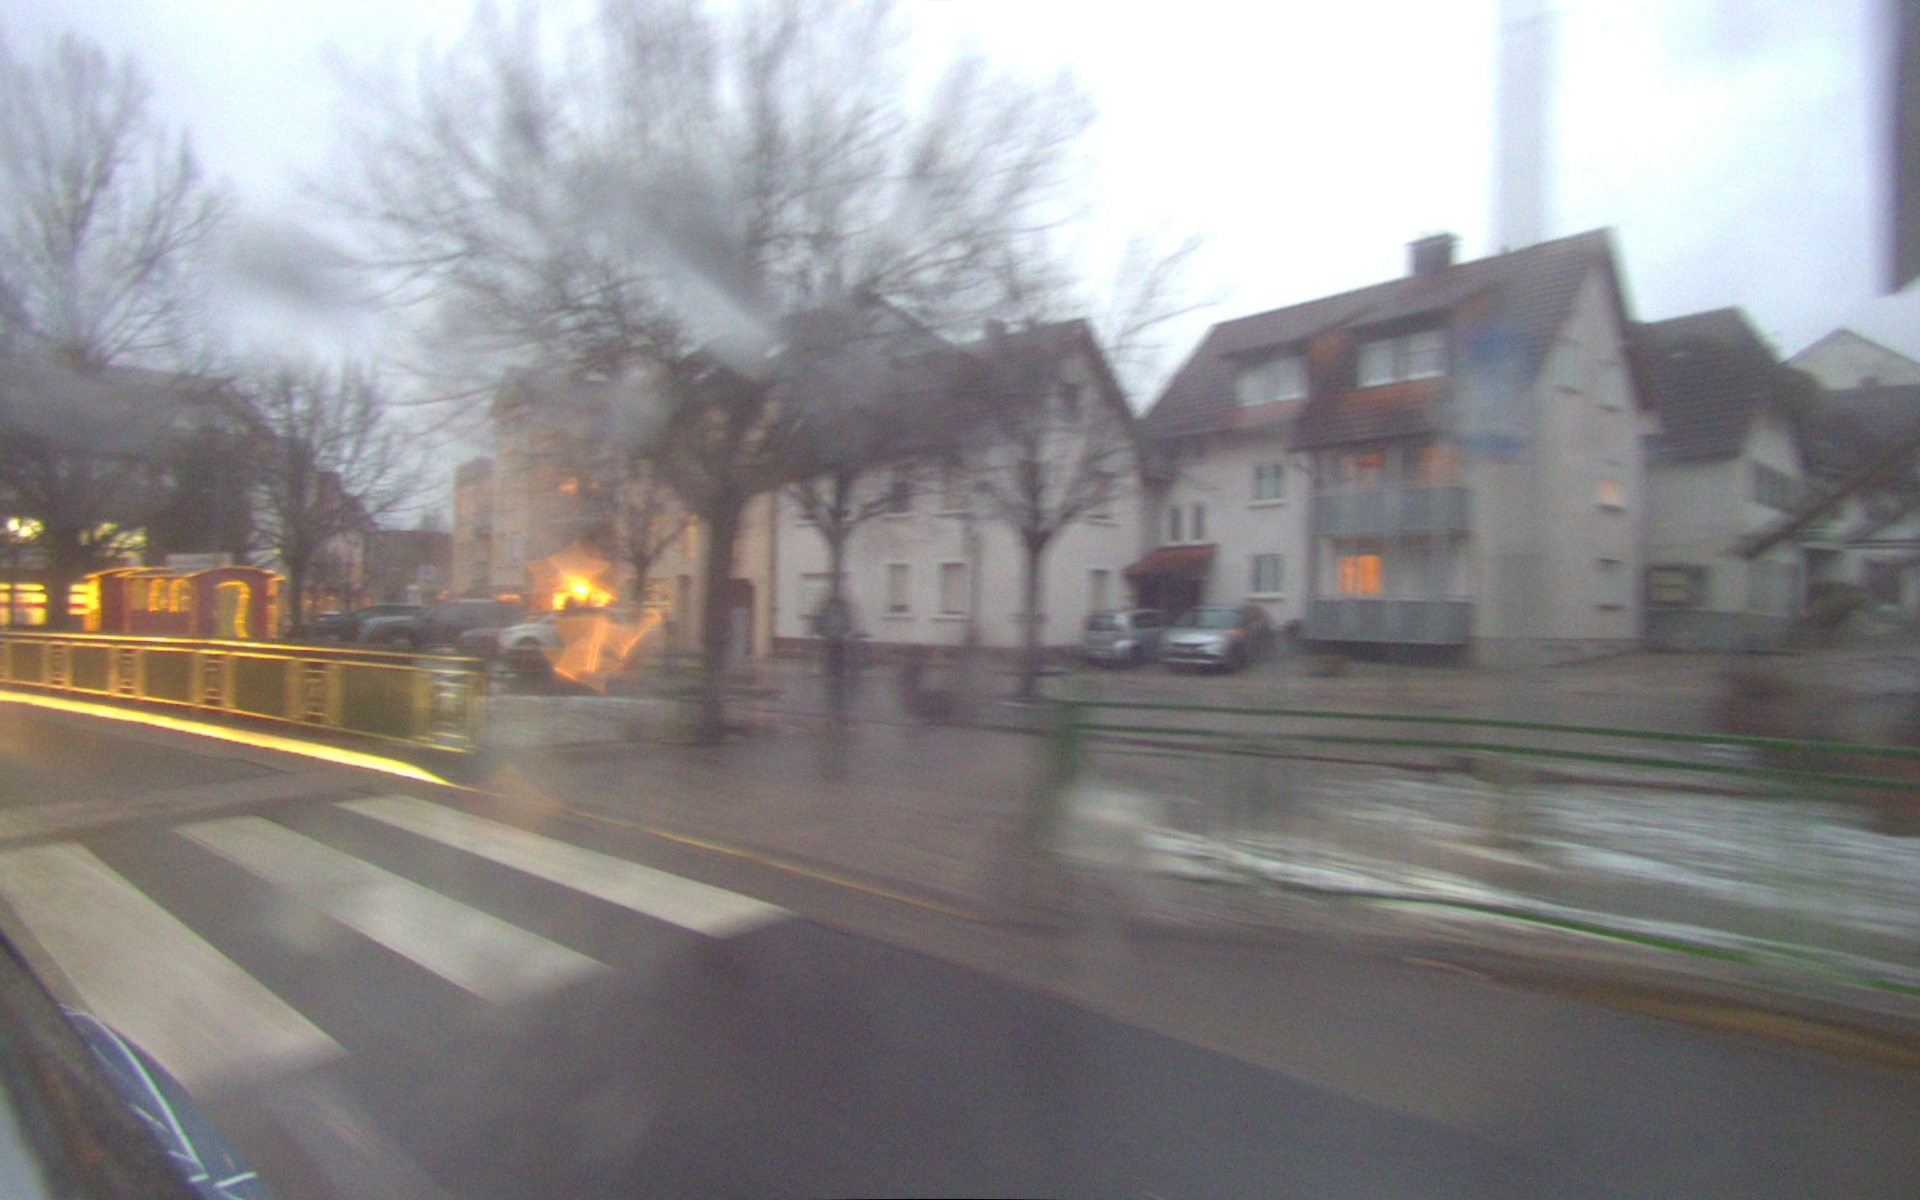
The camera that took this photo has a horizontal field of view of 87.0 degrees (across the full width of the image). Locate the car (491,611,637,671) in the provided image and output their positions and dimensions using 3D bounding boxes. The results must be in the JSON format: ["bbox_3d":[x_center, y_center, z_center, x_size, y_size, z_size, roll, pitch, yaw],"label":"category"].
[{"bbox_3d":[-10.229,1.027,26.316,3.425,1.420,1.615,-1,0,-20],"label":"car"}]

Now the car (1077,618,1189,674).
[{"bbox_3d":[4.823,1.231,27.995,3.009,1.134,1.531,-6,5,-43],"label":"car"}]

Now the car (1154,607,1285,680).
[{"bbox_3d":[6.738,1.056,26.112,1.714,1.624,3.559,-1,1,44],"label":"car"}]

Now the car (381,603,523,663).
[{"bbox_3d":[-14.704,0.929,29.504,3.572,1.624,1.616,-1,0,-22],"label":"car"}]

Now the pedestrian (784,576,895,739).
[{"bbox_3d":[-1.380,0.627,11.553,0.868,1.748,0.957,0,-1,-40],"label":"pedestrian"}]

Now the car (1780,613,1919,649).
[{"bbox_3d":[27.568,0.922,31.397,1.403,1.006,3.042,-2,1,-37],"label":"car"}]

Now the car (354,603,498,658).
[{"bbox_3d":[-16.771,0.941,31.849,3.931,1.645,1.639,1,-1,-30],"label":"car"}]

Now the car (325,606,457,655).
[{"bbox_3d":[-19.961,1.057,35.685,3.930,1.645,1.640,0,-1,-26],"label":"car"}]

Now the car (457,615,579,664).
[{"bbox_3d":[-12.204,1.073,28.083,3.002,1.229,1.616,-1,0,-22],"label":"car"}]
